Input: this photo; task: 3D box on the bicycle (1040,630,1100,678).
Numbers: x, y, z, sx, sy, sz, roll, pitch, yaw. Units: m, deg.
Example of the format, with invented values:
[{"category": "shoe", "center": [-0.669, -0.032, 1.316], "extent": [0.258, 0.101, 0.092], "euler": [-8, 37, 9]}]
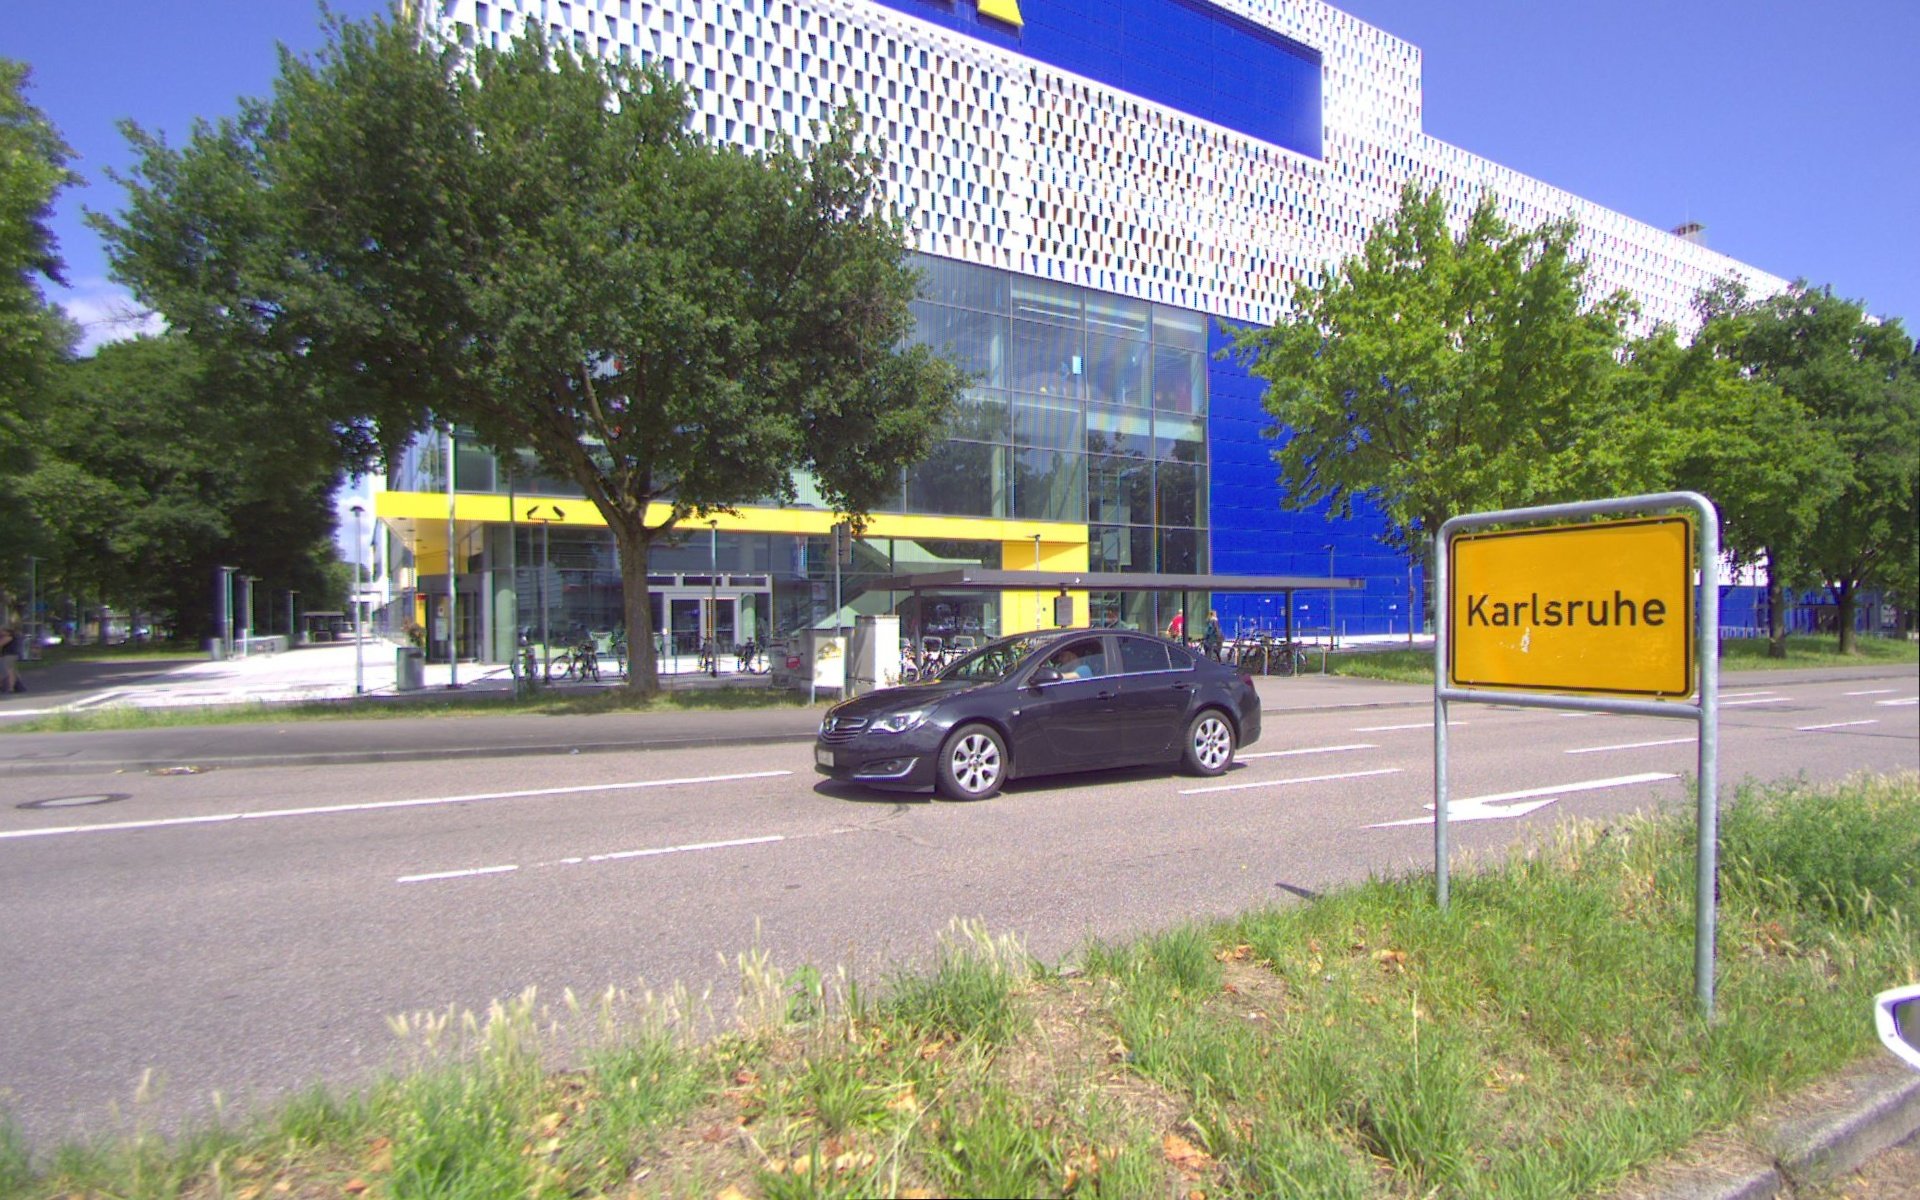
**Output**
[{"category": "bicycle", "center": [2.974, 1.444, 27.272], "extent": [0.622, 1.199, 1.916], "euler": [0, 0, -29]}]

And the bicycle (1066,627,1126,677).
[{"category": "bicycle", "center": [3.733, 1.416, 27.793], "extent": [0.622, 1.290, 1.916], "euler": [0, 0, -29]}]

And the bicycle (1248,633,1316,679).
[{"category": "bicycle", "center": [9.058, 1.549, 28.338], "extent": [0.622, 1.199, 1.916], "euler": [0, 0, -29]}]

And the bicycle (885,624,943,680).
[{"category": "bicycle", "center": [-1.146, 1.241, 24.590], "extent": [0.622, 1.290, 1.916], "euler": [0, 0, -29]}]

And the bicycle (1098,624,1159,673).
[{"category": "bicycle", "center": [4.721, 1.335, 28.216], "extent": [0.622, 1.290, 1.916], "euler": [0, 0, -29]}]

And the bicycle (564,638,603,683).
[{"category": "bicycle", "center": [-9.772, 1.537, 26.005], "extent": [0.523, 1.084, 1.922], "euler": [1, -1, -33]}]

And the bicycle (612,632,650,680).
[{"category": "bicycle", "center": [-8.743, 1.460, 26.614], "extent": [0.463, 1.188, 1.944], "euler": [0, 0, -33]}]

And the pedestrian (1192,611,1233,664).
[{"category": "pedestrian", "center": [8.333, 1.226, 33.164], "extent": [0.876, 1.725, 0.946], "euler": [1, 0, -30]}]

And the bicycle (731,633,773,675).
[{"category": "bicycle", "center": [-5.955, 1.525, 28.702], "extent": [0.515, 1.104, 1.918], "euler": [0, 0, -33]}]

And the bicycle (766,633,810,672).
[{"category": "bicycle", "center": [-5.037, 1.510, 29.315], "extent": [0.523, 1.084, 1.922], "euler": [1, -1, -33]}]

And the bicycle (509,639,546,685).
[{"category": "bicycle", "center": [-10.932, 1.536, 25.344], "extent": [0.523, 1.084, 1.922], "euler": [1, -1, -33]}]

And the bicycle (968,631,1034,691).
[{"category": "bicycle", "center": [0.935, 1.408, 23.529], "extent": [0.622, 1.290, 1.916], "euler": [0, 0, -29]}]

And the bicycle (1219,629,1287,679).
[{"category": "bicycle", "center": [8.081, 1.469, 27.750], "extent": [0.622, 1.290, 1.916], "euler": [0, 0, -29]}]

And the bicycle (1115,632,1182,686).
[{"category": "bicycle", "center": [4.855, 1.499, 25.971], "extent": [0.622, 1.290, 1.916], "euler": [0, 0, -29]}]

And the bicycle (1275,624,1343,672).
[{"category": "bicycle", "center": [10.009, 1.361, 28.879], "extent": [0.622, 1.290, 1.916], "euler": [0, 0, -29]}]

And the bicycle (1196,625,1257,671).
[{"category": "bicycle", "center": [7.987, 1.427, 30.227], "extent": [0.622, 1.290, 1.916], "euler": [0, 0, -29]}]

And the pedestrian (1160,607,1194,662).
[{"category": "pedestrian", "center": [7.470, 1.182, 34.616], "extent": [0.876, 1.847, 0.750], "euler": [1, 0, -30]}]

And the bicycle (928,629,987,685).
[{"category": "bicycle", "center": [-0.079, 1.407, 25.299], "extent": [0.622, 1.290, 1.916], "euler": [0, 0, -29]}]

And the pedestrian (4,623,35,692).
[{"category": "pedestrian", "center": [-24.098, 1.466, 25.745], "extent": [0.511, 1.726, 0.406], "euler": [0, 0, -36]}]

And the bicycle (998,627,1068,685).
[{"category": "bicycle", "center": [1.729, 1.314, 24.198], "extent": [0.622, 1.290, 2.079], "euler": [0, 0, -29]}]

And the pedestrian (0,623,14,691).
[{"category": "pedestrian", "center": [-24.880, 1.472, 26.091], "extent": [0.406, 1.726, 0.522], "euler": [0, 0, -39]}]

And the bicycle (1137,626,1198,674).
[{"category": "bicycle", "center": [5.955, 1.424, 28.968], "extent": [0.622, 1.290, 1.916], "euler": [0, 0, -29]}]

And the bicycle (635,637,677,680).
[{"category": "bicycle", "center": [-8.192, 1.562, 27.025], "extent": [0.523, 1.084, 1.922], "euler": [1, -1, -33]}]

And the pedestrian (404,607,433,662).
[{"category": "pedestrian", "center": [-17.475, 1.100, 32.404], "extent": [0.703, 1.729, 0.890], "euler": [1, -1, -35]}]

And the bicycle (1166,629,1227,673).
[{"category": "bicycle", "center": [6.949, 1.482, 29.575], "extent": [0.622, 1.195, 1.916], "euler": [0, 0, -29]}]

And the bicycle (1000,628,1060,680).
[{"category": "bicycle", "center": [1.828, 1.396, 26.540], "extent": [0.622, 1.290, 1.916], "euler": [0, 0, -29]}]

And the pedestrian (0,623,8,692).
[{"category": "pedestrian", "center": [-24.508, 1.454, 25.478], "extent": [0.446, 1.726, 0.400], "euler": [0, 0, -36]}]

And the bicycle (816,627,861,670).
[{"category": "bicycle", "center": [-3.660, 1.427, 30.185], "extent": [0.523, 1.225, 1.922], "euler": [1, -1, -33]}]

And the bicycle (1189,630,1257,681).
[{"category": "bicycle", "center": [7.058, 1.467, 27.018], "extent": [0.622, 1.290, 1.916], "euler": [0, 0, -29]}]

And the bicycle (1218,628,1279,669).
[{"category": "bicycle", "center": [8.843, 1.465, 30.806], "extent": [0.622, 1.199, 1.916], "euler": [0, 0, -29]}]

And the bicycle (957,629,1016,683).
[{"category": "bicycle", "center": [0.674, 1.425, 25.926], "extent": [0.622, 1.290, 1.916], "euler": [0, 0, -29]}]

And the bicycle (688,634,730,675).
[{"category": "bicycle", "center": [-7.002, 1.507, 28.014], "extent": [0.523, 1.084, 1.922], "euler": [1, -1, -33]}]

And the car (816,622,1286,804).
[{"category": "car", "center": [0.983, 0.979, 9.828], "extent": [4.466, 1.439, 1.656], "euler": [1, -3, -31]}]

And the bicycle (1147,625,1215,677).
[{"category": "bicycle", "center": [5.796, 1.321, 26.455], "extent": [0.622, 1.290, 1.916], "euler": [0, 0, -29]}]
